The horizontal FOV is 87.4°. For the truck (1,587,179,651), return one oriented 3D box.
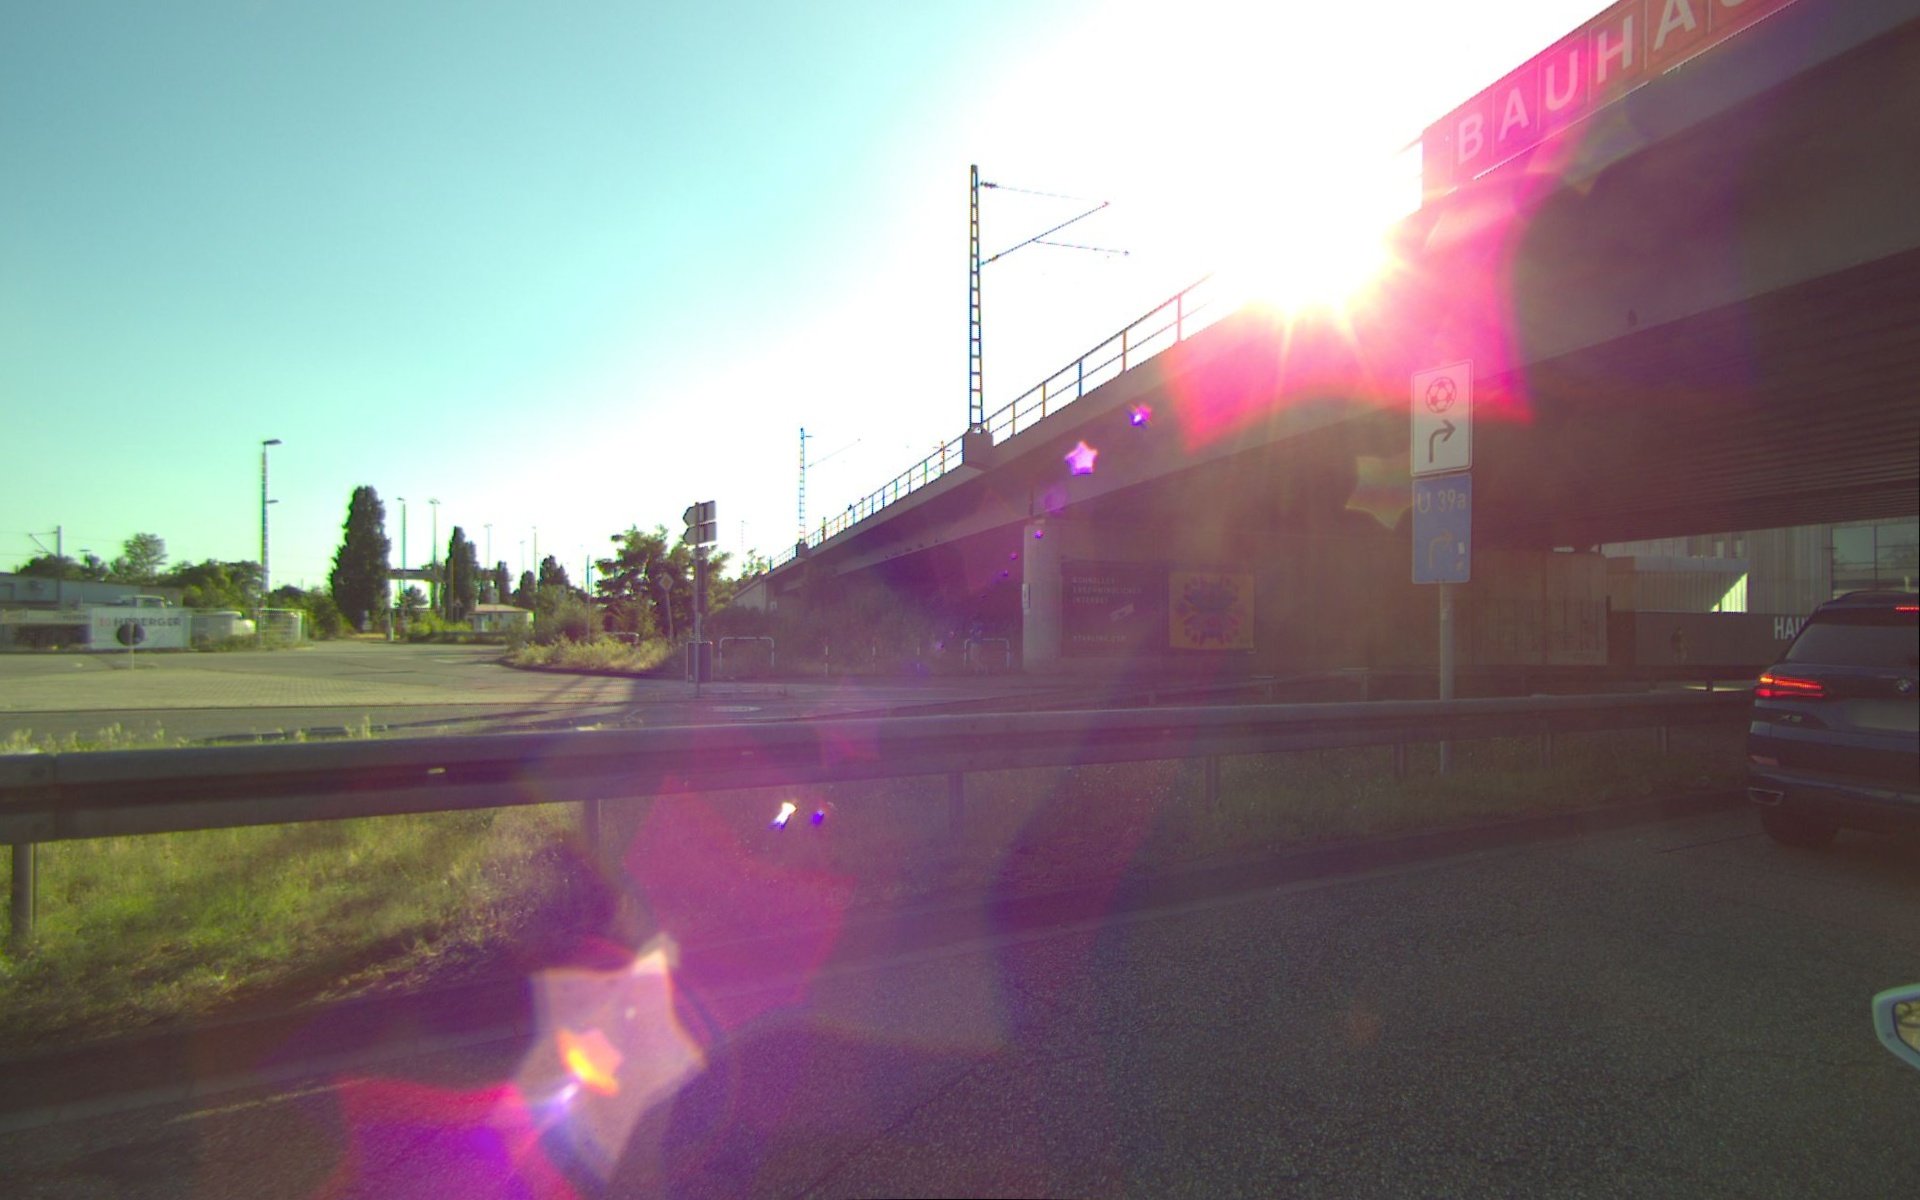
[{"bbox_3d":[-46.723,1.103,54.216,2.393,3.186,6.775,1,-2,25],"label":"truck"}]

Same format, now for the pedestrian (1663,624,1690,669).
[{"bbox_3d":[30.807,1.998,43.205,0.656,1.928,0.692,2,-1,-25],"label":"pedestrian"}]

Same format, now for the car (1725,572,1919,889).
[{"bbox_3d":[7.253,0.816,6.719,4.408,1.761,1.821,3,-2,-29],"label":"car"}]
